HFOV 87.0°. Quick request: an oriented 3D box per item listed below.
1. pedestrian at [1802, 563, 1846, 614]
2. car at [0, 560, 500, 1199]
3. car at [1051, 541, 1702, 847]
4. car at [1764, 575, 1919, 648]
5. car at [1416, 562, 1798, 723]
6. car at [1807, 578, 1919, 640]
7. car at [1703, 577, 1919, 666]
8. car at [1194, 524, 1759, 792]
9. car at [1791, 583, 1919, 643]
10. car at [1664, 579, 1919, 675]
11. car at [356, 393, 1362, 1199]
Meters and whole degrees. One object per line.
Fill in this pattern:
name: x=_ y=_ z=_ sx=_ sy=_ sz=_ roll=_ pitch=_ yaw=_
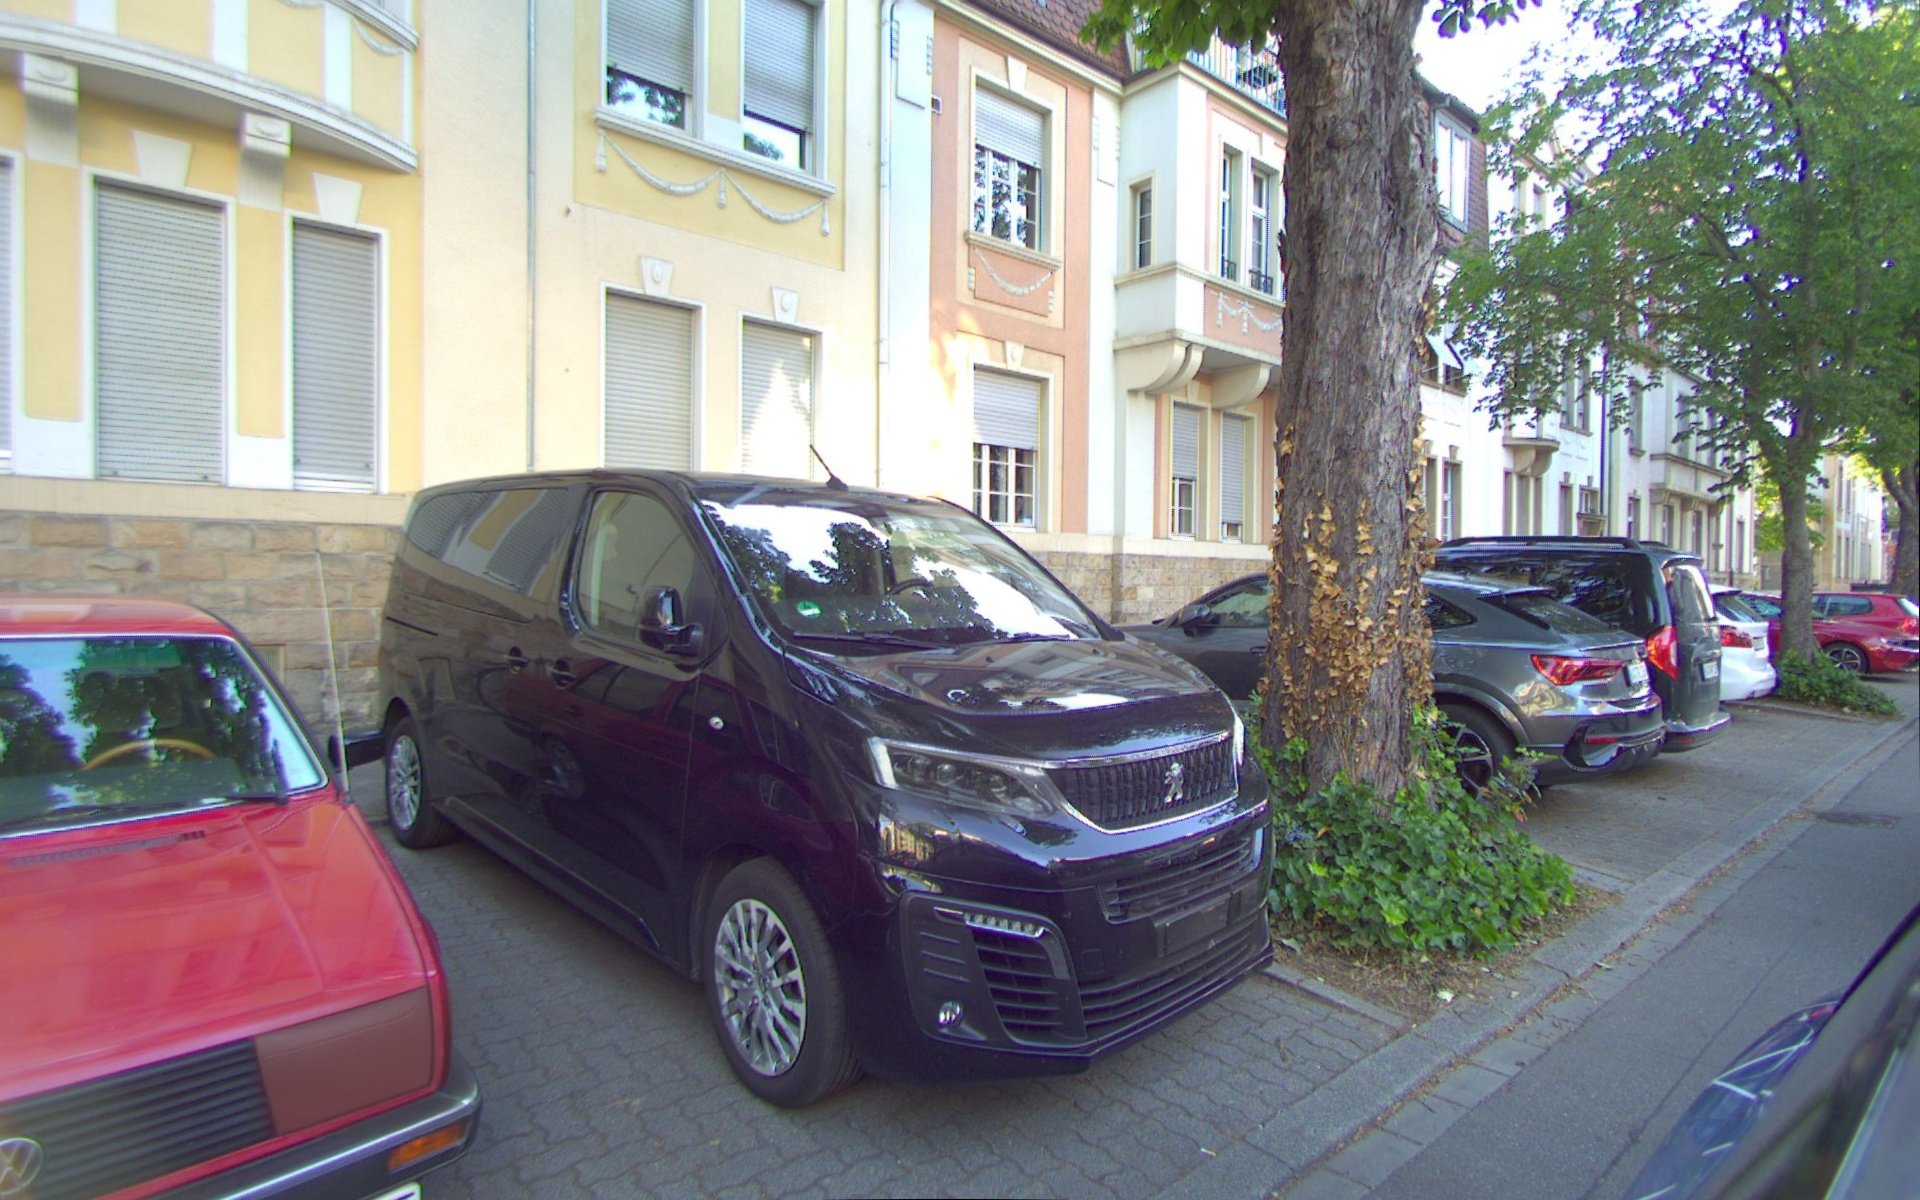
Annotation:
pedestrian: x=35.789 y=-0.483 z=41.911 sx=0.915 sy=2.038 sz=1.188 roll=0 pitch=3 yaw=-42
car: x=-2.813 y=0.600 z=2.968 sx=1.532 sy=1.336 sz=3.917 roll=-1 pitch=4 yaw=-43
car: x=2.783 y=0.406 z=7.511 sx=1.569 sy=1.611 sz=4.165 roll=-1 pitch=4 yaw=-44
car: x=21.618 y=0.237 z=24.086 sx=1.511 sy=1.584 sz=3.621 roll=0 pitch=2 yaw=-40
car: x=7.699 y=0.384 z=12.270 sx=1.513 sy=1.569 sz=3.616 roll=-1 pitch=3 yaw=-45
car: x=25.939 y=0.246 z=28.008 sx=1.511 sy=1.584 sz=3.621 roll=0 pitch=2 yaw=-40
car: x=16.860 y=0.365 z=19.664 sx=1.511 sy=1.482 sz=3.621 roll=0 pitch=3 yaw=-40
car: x=4.325 y=0.275 z=9.007 sx=1.569 sy=1.849 sz=4.165 roll=-1 pitch=4 yaw=-44
car: x=23.987 y=0.329 z=26.166 sx=1.511 sy=1.420 sz=3.621 roll=0 pitch=3 yaw=-40
car: x=14.951 y=0.403 z=18.053 sx=1.511 sy=1.420 sz=3.621 roll=0 pitch=3 yaw=-40
car: x=-0.994 y=0.343 z=4.524 sx=1.851 sy=1.846 sz=4.825 roll=-1 pitch=4 yaw=-44
